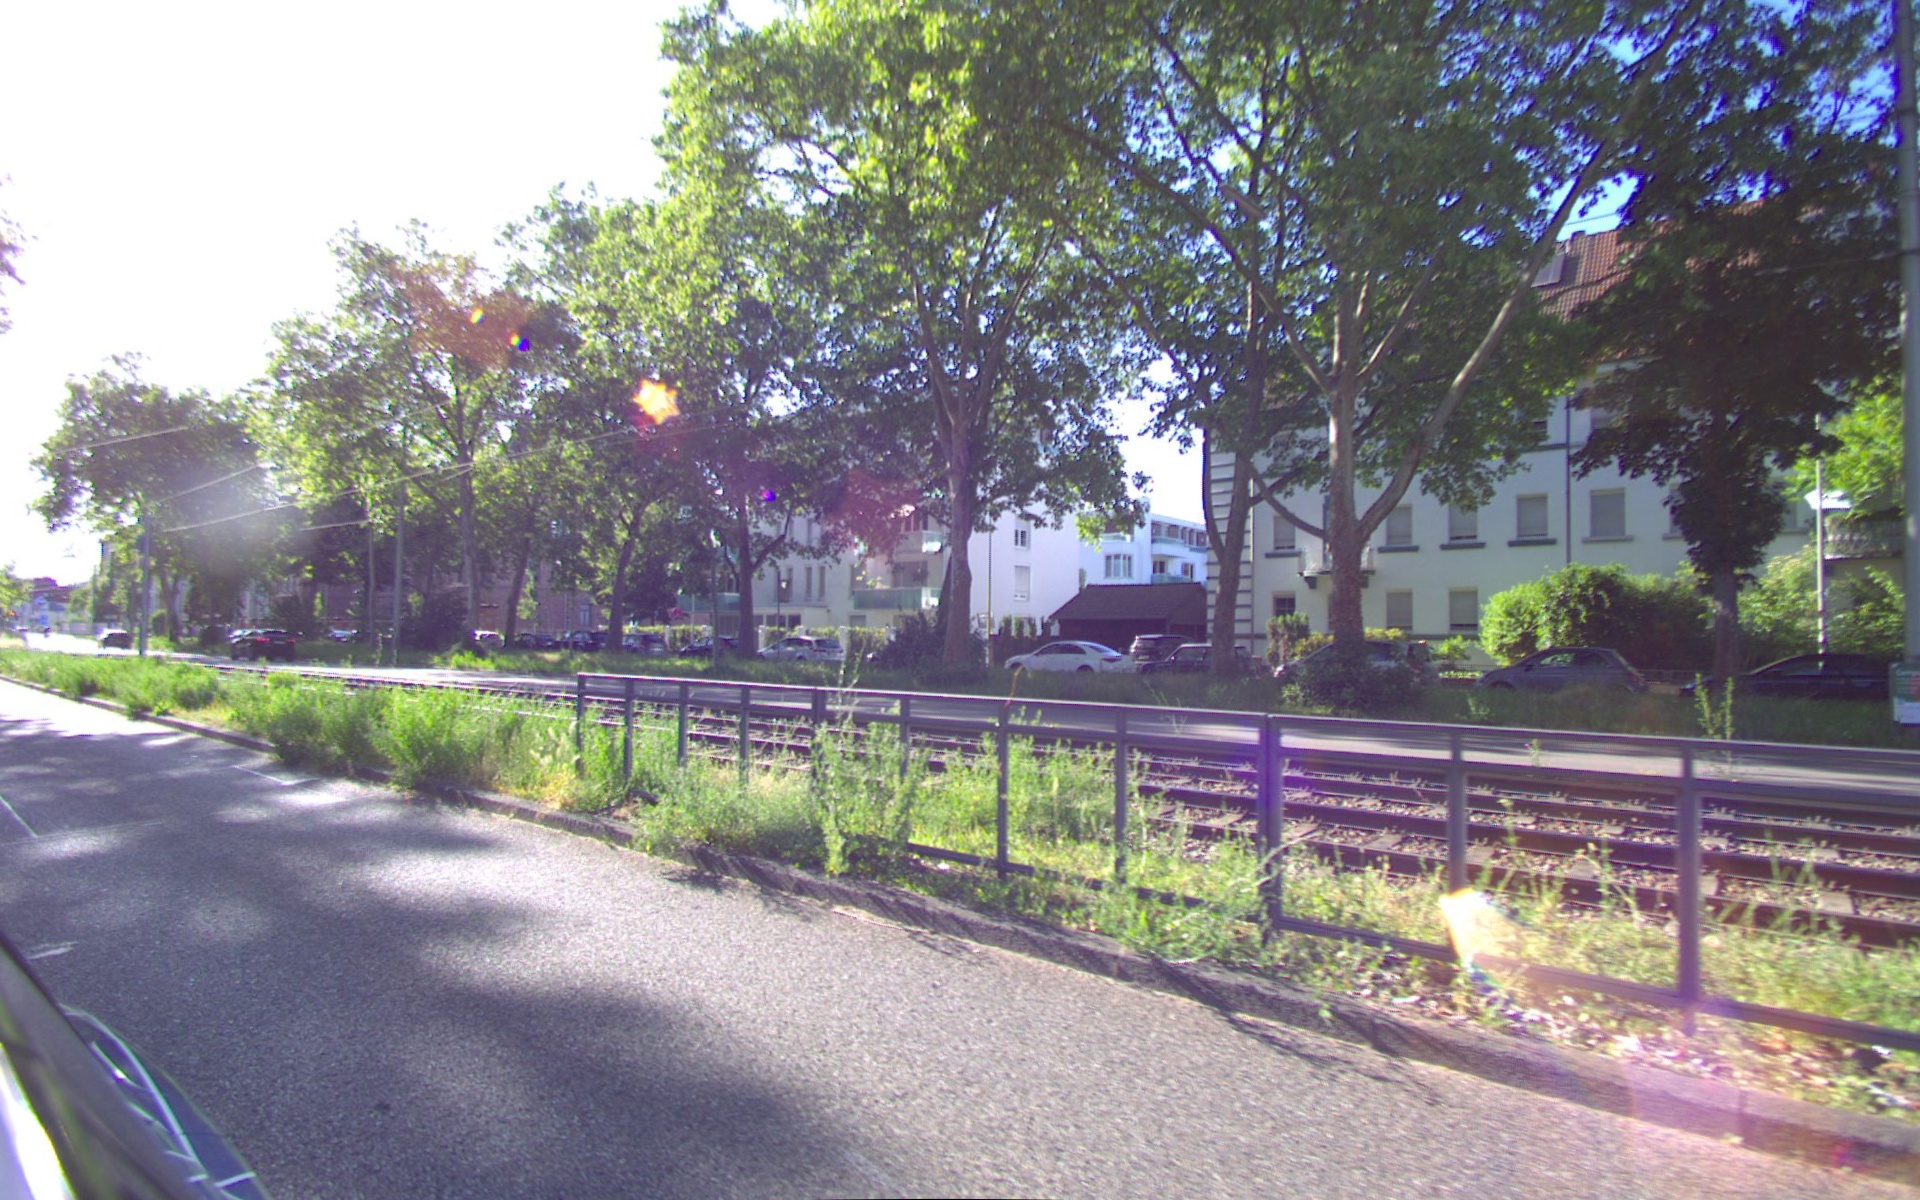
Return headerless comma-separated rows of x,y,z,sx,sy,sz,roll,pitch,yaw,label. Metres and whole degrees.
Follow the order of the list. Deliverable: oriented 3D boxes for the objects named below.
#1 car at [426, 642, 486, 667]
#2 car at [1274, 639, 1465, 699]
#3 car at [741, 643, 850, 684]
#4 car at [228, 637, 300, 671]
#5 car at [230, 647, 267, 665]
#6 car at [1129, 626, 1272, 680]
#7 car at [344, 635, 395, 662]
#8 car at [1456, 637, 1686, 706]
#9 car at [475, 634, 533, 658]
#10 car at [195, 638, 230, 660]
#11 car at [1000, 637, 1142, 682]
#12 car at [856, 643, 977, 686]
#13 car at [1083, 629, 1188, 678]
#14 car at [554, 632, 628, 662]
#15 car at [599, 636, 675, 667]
-31.344,3.349,62.852,3.998,1.497,1.972,-2,-3,41,car
10.679,1.754,26.588,4.317,1.451,1.717,-2,-3,41,car
-6.844,2.575,41.806,4.653,1.603,1.972,-2,-3,41,car
-36.051,2.764,52.363,4.456,1.660,1.839,-2,-5,39,car
-62.207,4.884,88.468,3.686,1.497,1.748,-2,-3,41,car
6.999,1.524,29.605,3.695,1.476,1.756,-2,-3,41,car
-42.125,3.459,72.128,3.998,1.863,1.972,-2,-3,41,car
14.112,1.593,23.527,4.317,1.452,1.766,-2,-3,41,car
-29.652,2.976,65.726,3.998,1.497,1.972,-2,-3,41,car
-70.202,4.622,95.027,1.970,2.029,4.002,2,-3,-45,car
3.537,1.912,32.710,4.459,1.334,1.623,-2,-5,41,car
-1.626,2.336,37.323,4.317,1.464,1.972,-2,-3,41,car
7.074,2.160,41.005,3.818,1.874,1.830,-2,-3,40,car
-19.243,2.438,52.741,3.998,1.497,1.972,-2,-3,41,car
-15.861,2.495,49.620,3.998,1.484,1.778,-2,-3,41,car
